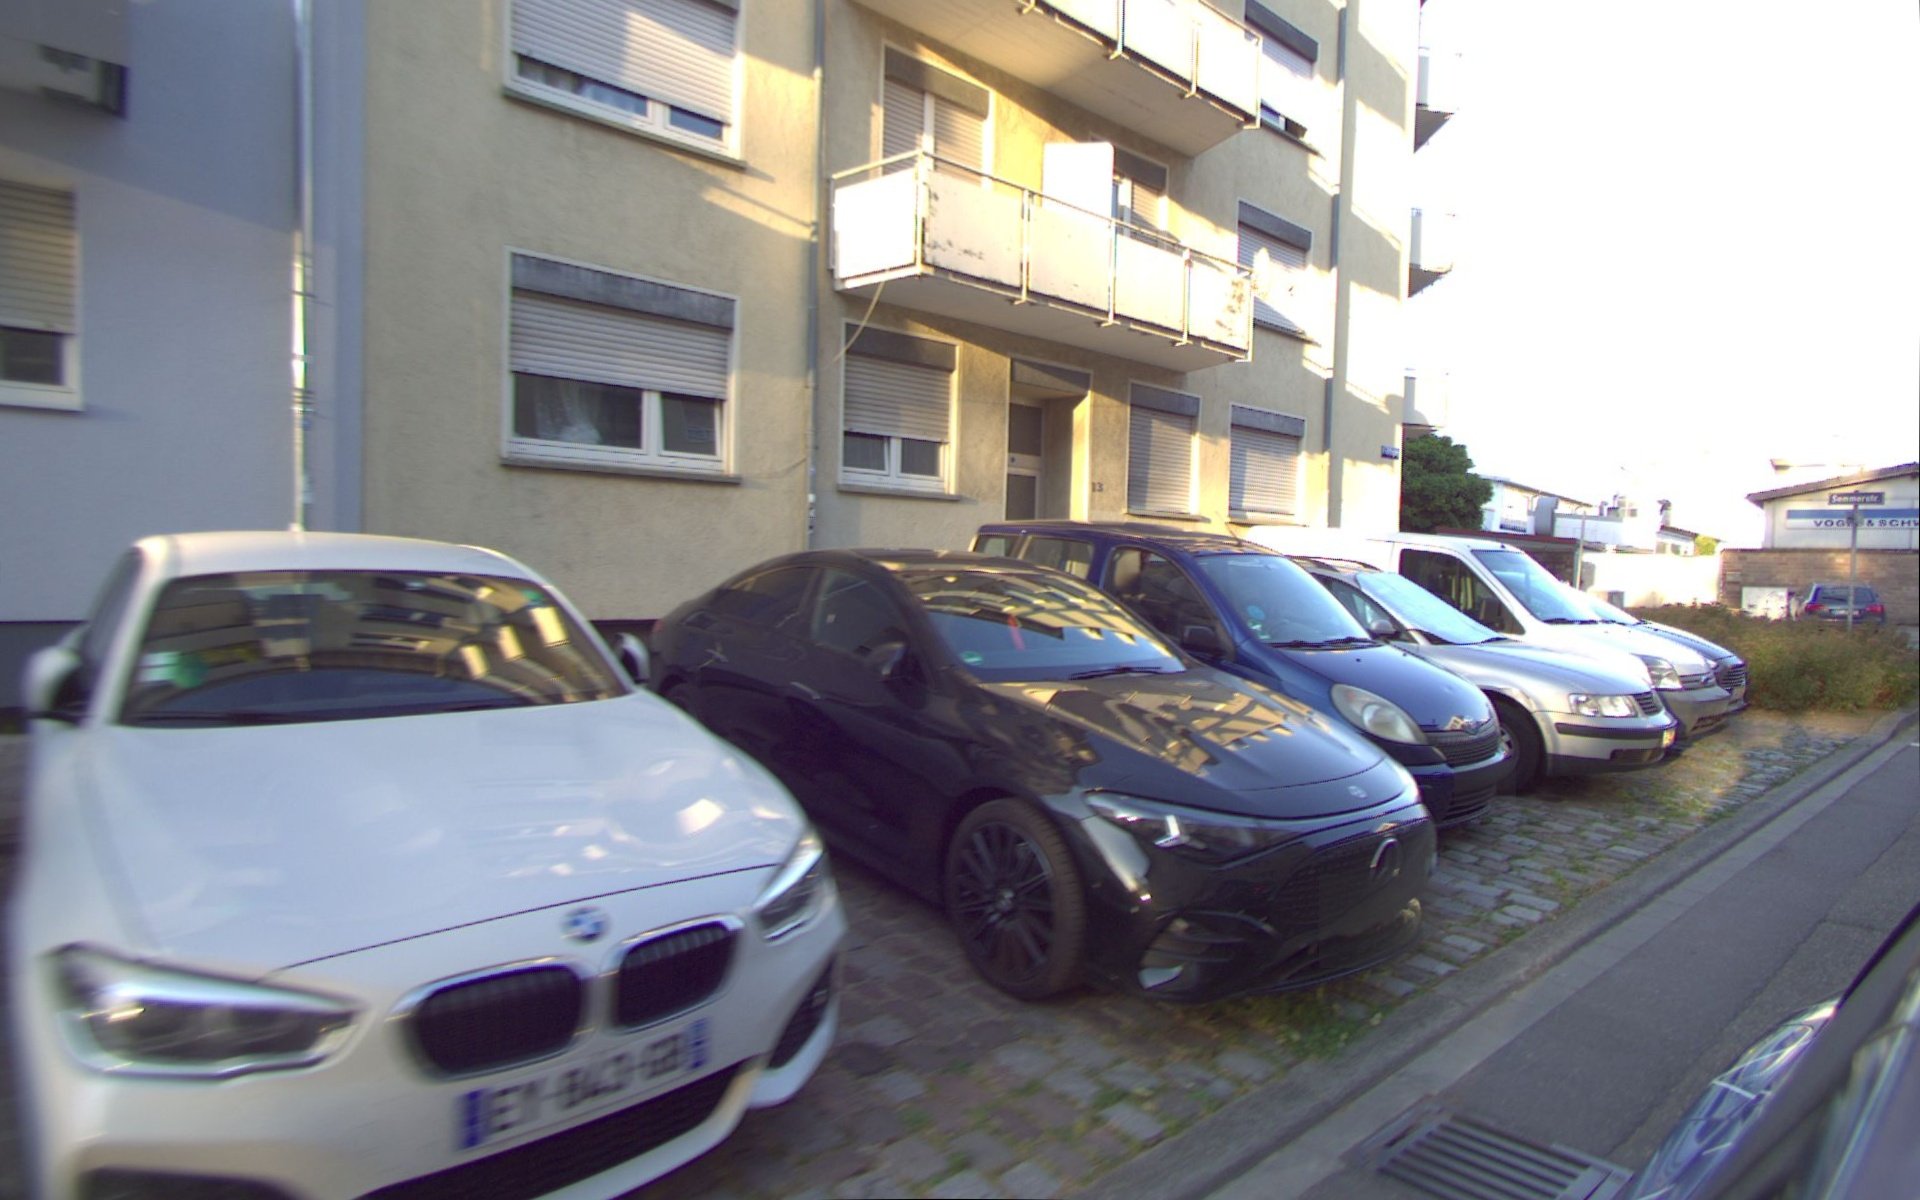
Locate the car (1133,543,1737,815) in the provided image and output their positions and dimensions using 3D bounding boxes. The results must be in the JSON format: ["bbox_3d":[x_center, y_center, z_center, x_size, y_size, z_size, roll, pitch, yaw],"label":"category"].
[{"bbox_3d":[3.457,0.366,8.017,1.676,1.540,3.966,-1,4,-39],"label":"car"}]

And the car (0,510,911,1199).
[{"bbox_3d":[-2.011,0.466,3.389,1.608,1.432,3.883,-2,6,-41],"label":"car"}]

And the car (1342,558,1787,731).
[{"bbox_3d":[6.504,0.324,11.253,1.710,1.510,3.882,-1,4,-39],"label":"car"}]

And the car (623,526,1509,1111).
[{"bbox_3d":[-0.011,0.447,4.866,1.626,1.466,4.321,-2,6,-39],"label":"car"}]

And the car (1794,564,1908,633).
[{"bbox_3d":[24.322,-0.120,27.783,1.821,1.549,4.670,3,5,36],"label":"car"}]

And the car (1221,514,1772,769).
[{"bbox_3d":[4.808,0.181,9.658,1.711,1.883,4.290,-2,4,-39],"label":"car"}]

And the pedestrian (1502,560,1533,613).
[{"bbox_3d":[17.912,-0.438,32.544,0.779,1.686,0.624,3,1,26],"label":"pedestrian"}]

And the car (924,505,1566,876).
[{"bbox_3d":[1.571,0.269,6.703,1.626,1.715,3.801,-2,6,-39],"label":"car"}]
